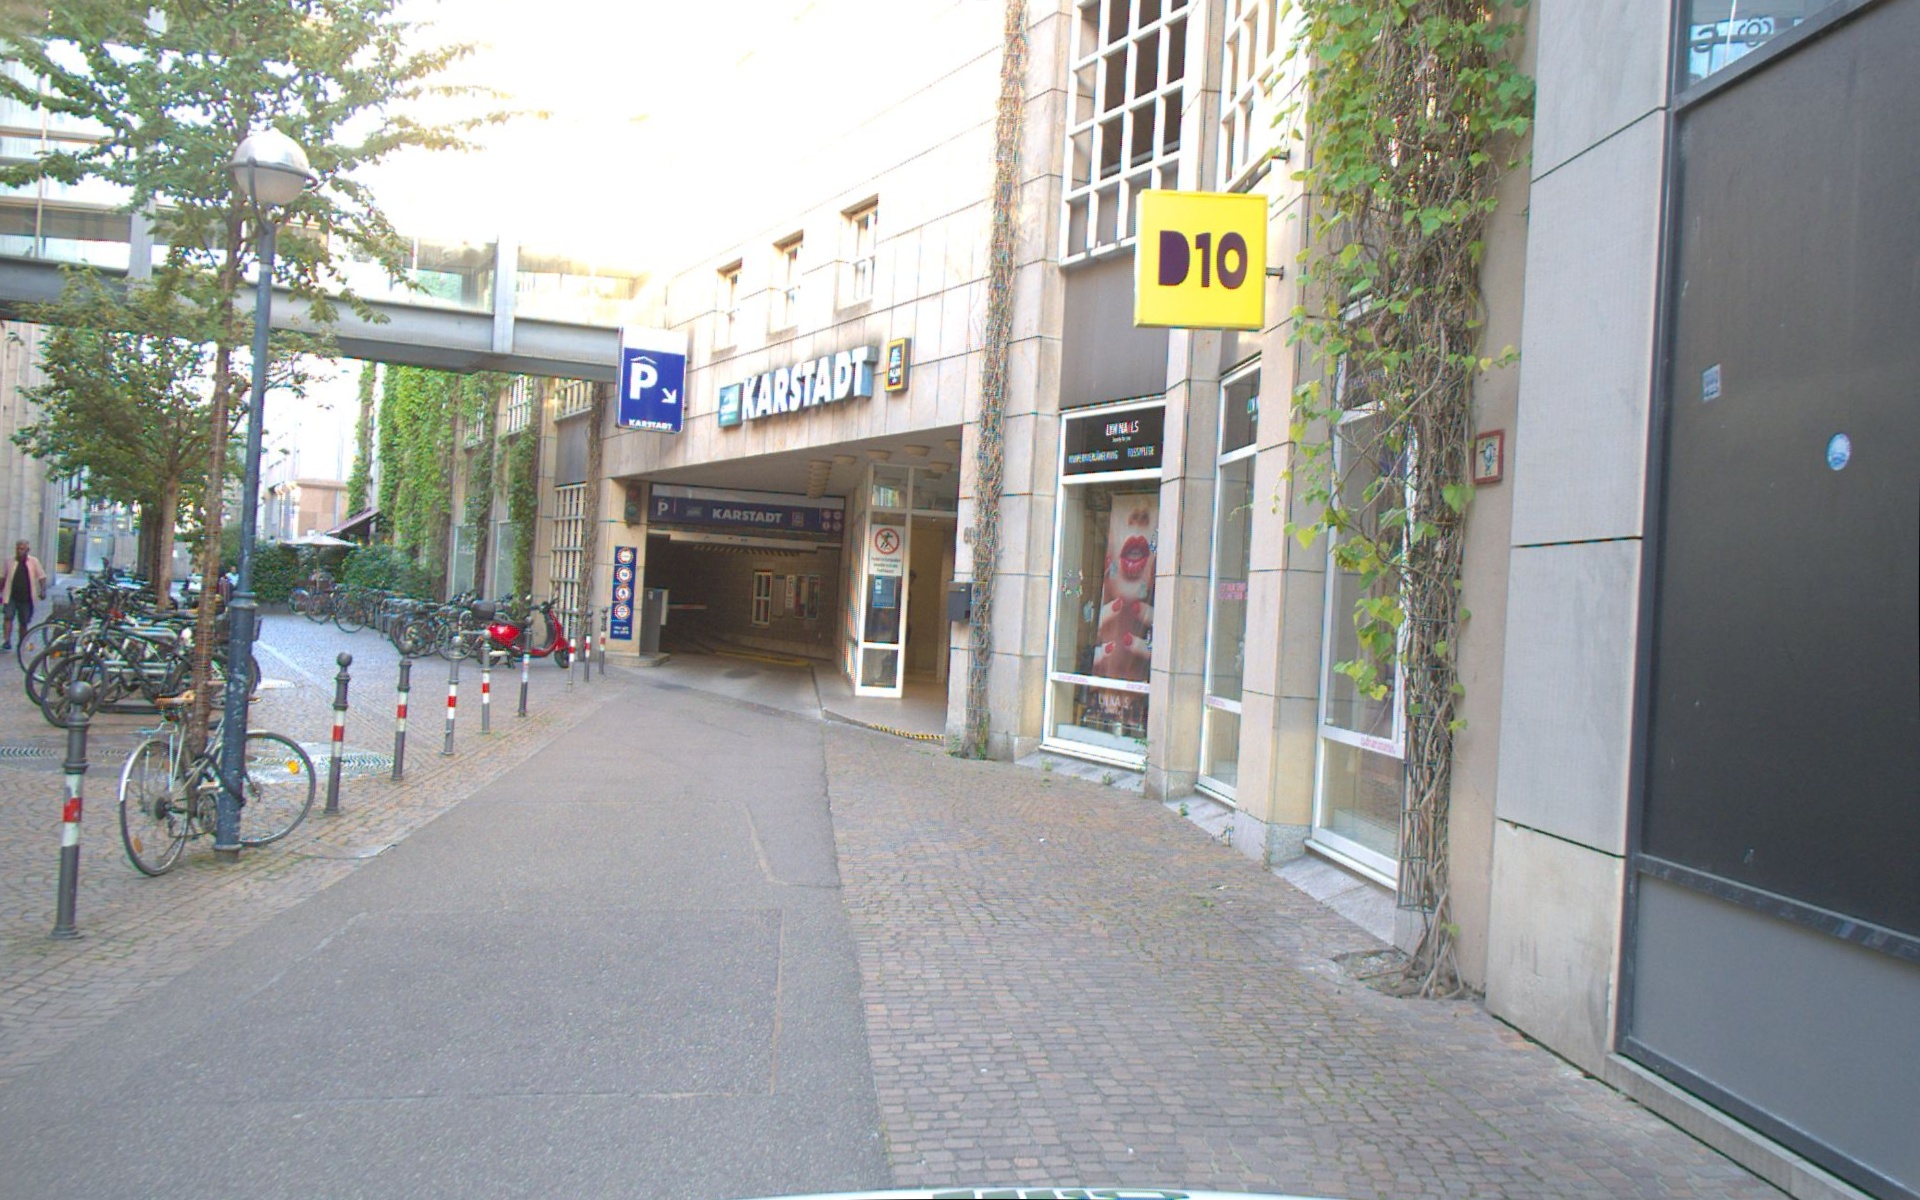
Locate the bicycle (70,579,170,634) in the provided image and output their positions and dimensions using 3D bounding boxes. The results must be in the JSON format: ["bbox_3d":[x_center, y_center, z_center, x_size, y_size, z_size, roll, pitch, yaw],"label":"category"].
[{"bbox_3d":[-16.893,0.135,33.280,1.760,1.037,0.476,2,0,-29],"label":"bicycle"}]

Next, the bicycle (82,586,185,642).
[{"bbox_3d":[-16.246,0.282,32.516,1.760,1.037,0.476,2,0,-29],"label":"bicycle"}]

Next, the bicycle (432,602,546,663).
[{"bbox_3d":[-8.192,0.567,28.810,1.826,0.999,0.459,2,0,-27],"label":"bicycle"}]

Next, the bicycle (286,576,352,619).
[{"bbox_3d":[-19.191,-0.067,49.504,1.752,1.211,0.581,2,0,-27],"label":"bicycle"}]

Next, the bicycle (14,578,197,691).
[{"bbox_3d":[-9.848,0.404,19.102,1.813,1.246,0.529,2,0,-29],"label":"bicycle"}]

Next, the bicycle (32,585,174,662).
[{"bbox_3d":[-12.598,0.350,24.349,1.804,1.061,0.529,2,0,-29],"label":"bicycle"}]

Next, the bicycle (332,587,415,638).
[{"bbox_3d":[-13.860,0.288,39.109,1.752,1.134,0.538,2,0,-27],"label":"bicycle"}]

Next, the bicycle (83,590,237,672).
[{"bbox_3d":[-11.000,0.432,22.771,1.856,1.061,0.529,2,0,-29],"label":"bicycle"}]

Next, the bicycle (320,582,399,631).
[{"bbox_3d":[-14.819,0.152,40.809,1.752,1.134,0.538,2,0,-27],"label":"bicycle"}]

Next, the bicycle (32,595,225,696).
[{"bbox_3d":[-9.273,0.516,18.493,1.873,1.070,0.529,2,0,-29],"label":"bicycle"}]

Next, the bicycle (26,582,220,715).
[{"bbox_3d":[-8.195,0.478,16.228,1.635,1.252,0.529,2,0,-29],"label":"bicycle"}]

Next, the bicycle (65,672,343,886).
[{"bbox_3d":[-4.028,0.915,8.960,0.482,0.955,1.660,4,0,9],"label":"bicycle"}]

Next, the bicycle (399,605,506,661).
[{"bbox_3d":[-9.064,0.594,29.562,1.752,0.919,0.459,2,0,-27],"label":"bicycle"}]

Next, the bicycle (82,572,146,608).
[{"bbox_3d":[-28.684,-0.345,56.101,1.884,1.131,0.476,2,0,-31],"label":"bicycle"}]

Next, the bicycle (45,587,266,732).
[{"bbox_3d":[-7.304,0.541,15.052,1.747,1.252,0.529,2,0,-29],"label":"bicycle"}]

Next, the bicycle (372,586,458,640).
[{"bbox_3d":[-12.203,0.289,37.037,1.752,1.134,0.538,2,0,-27],"label":"bicycle"}]

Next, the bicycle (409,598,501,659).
[{"bbox_3d":[-9.308,0.525,30.489,1.521,1.067,0.570,2,0,-27],"label":"bicycle"}]

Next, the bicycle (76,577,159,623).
[{"bbox_3d":[-22.013,-0.004,43.209,1.883,1.131,0.476,2,0,-29],"label":"bicycle"}]

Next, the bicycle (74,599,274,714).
[{"bbox_3d":[-8.129,0.592,17.137,1.816,1.142,0.529,2,0,-29],"label":"bicycle"}]

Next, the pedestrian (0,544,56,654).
[{"bbox_3d":[-14.006,-0.022,24.840,0.690,1.610,0.712,2,0,-28],"label":"pedestrian"}]

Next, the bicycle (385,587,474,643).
[{"bbox_3d":[-11.560,0.332,36.077,1.752,1.134,0.538,2,0,-27],"label":"bicycle"}]

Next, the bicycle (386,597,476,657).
[{"bbox_3d":[-10.030,0.511,31.385,1.521,1.067,0.570,2,0,-27],"label":"bicycle"}]

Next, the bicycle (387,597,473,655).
[{"bbox_3d":[-10.483,0.514,32.736,1.521,1.067,0.570,2,0,-27],"label":"bicycle"}]

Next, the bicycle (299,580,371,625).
[{"bbox_3d":[-16.848,0.071,44.566,1.750,1.134,0.539,2,0,-24],"label":"bicycle"}]

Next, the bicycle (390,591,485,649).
[{"bbox_3d":[-10.704,0.413,33.890,1.752,1.134,0.538,2,0,-27],"label":"bicycle"}]

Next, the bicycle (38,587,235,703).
[{"bbox_3d":[-8.941,0.497,17.999,1.851,1.198,0.529,2,0,-29],"label":"bicycle"}]

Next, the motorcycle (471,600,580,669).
[{"bbox_3d":[-7.165,0.572,27.297,1.643,1.069,0.459,2,0,-27],"label":"motorcycle"}]

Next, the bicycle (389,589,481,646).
[{"bbox_3d":[-11.076,0.367,34.925,1.752,1.134,0.538,2,0,-27],"label":"bicycle"}]

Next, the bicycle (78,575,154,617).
[{"bbox_3d":[-24.032,-0.111,47.111,1.883,1.131,0.476,2,0,-29],"label":"bicycle"}]
